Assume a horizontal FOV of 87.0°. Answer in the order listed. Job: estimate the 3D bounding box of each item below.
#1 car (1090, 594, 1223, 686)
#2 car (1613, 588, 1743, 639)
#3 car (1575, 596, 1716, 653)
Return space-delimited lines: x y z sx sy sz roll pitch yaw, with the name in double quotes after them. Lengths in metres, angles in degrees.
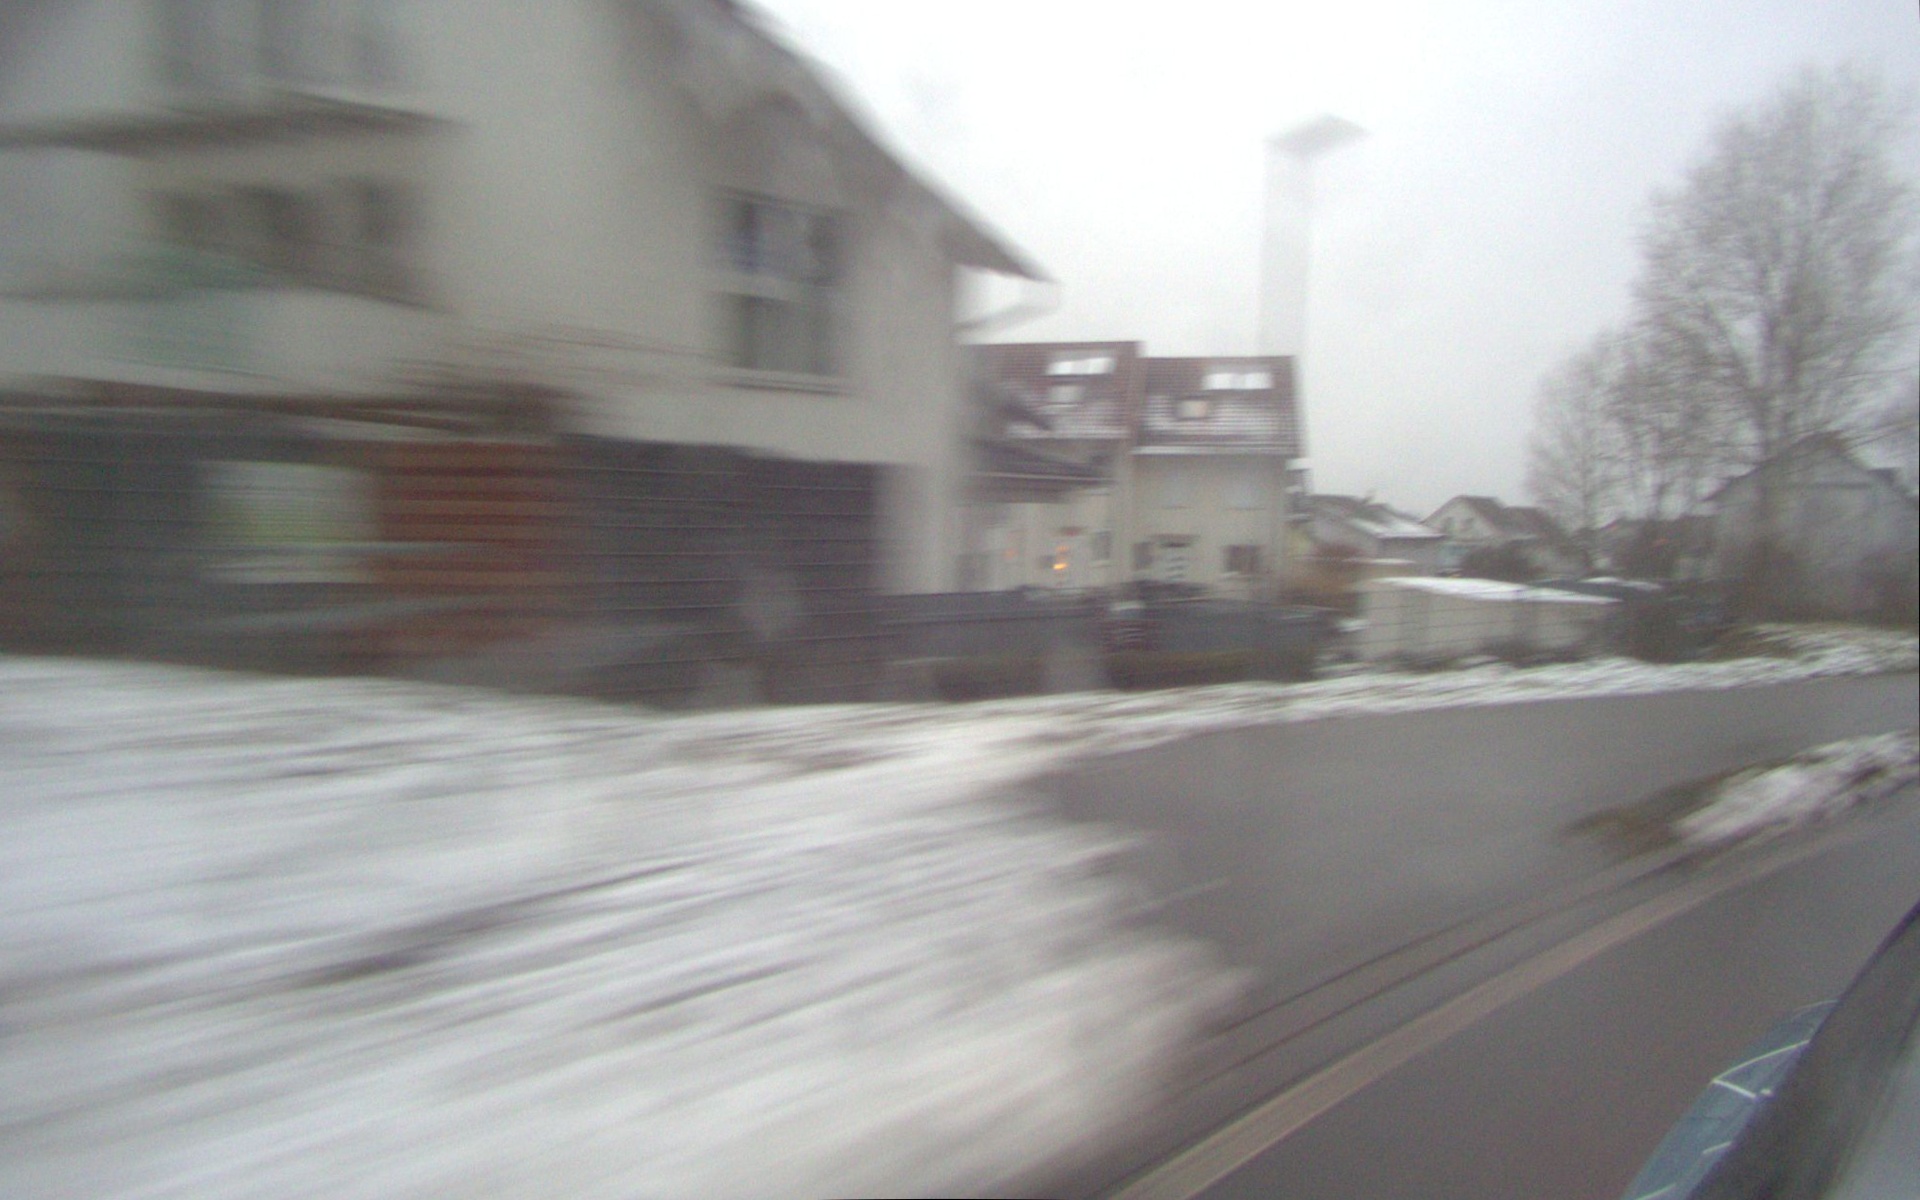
4.238 0.789 22.719 1.916 1.506 4.912 3 3 0 "car"
27.642 0.485 39.010 3.785 1.616 1.775 6 4 44 "car"
24.030 0.811 35.567 3.785 1.616 1.775 6 4 44 "car"
